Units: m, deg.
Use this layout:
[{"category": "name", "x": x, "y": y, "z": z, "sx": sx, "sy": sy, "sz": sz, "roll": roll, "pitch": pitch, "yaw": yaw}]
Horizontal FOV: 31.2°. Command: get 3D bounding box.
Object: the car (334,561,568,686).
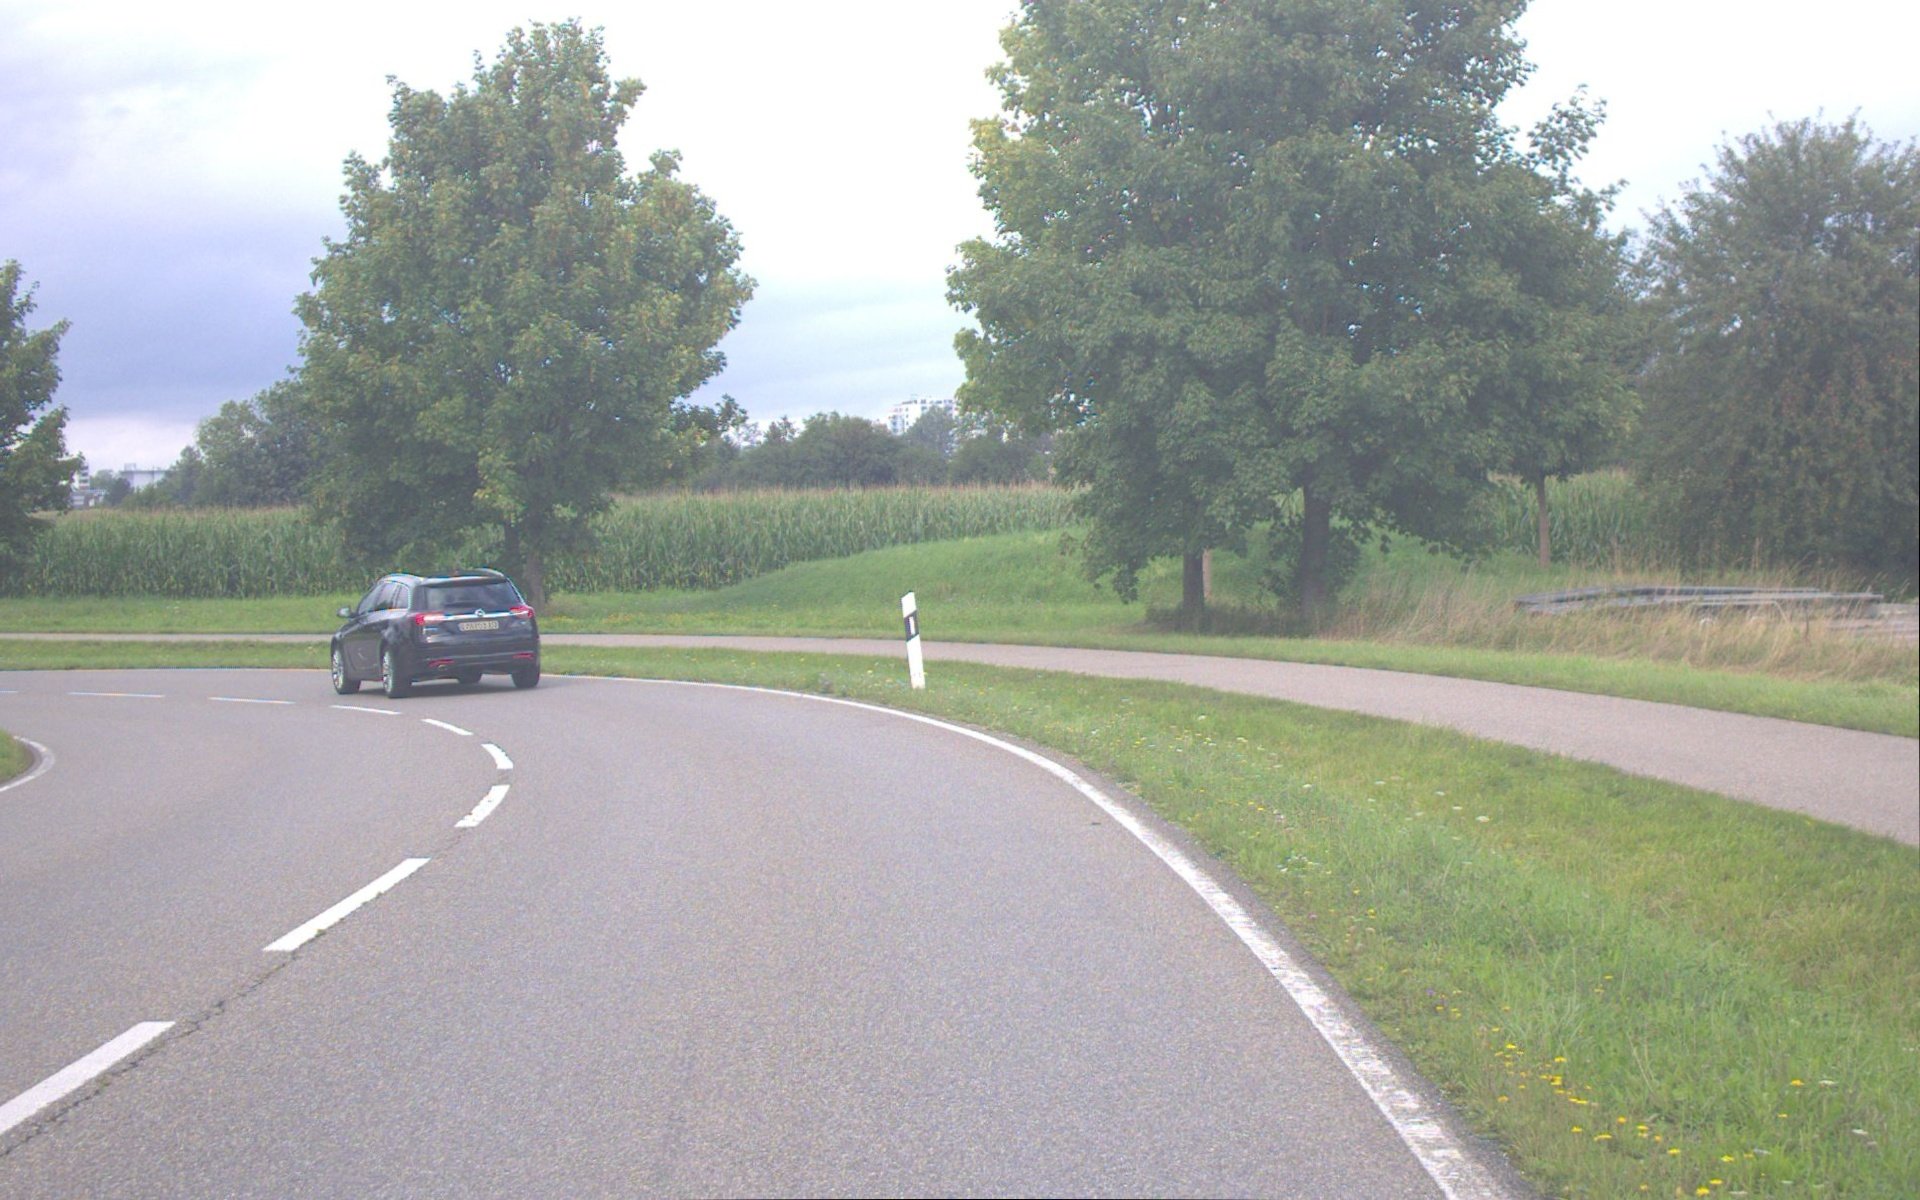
[{"category": "car", "x": -6.272, "y": 0.245, "z": 42.035, "sx": 1.841, "sy": 1.412, "sz": 4.001, "roll": -1, "pitch": 1, "yaw": -23}]
